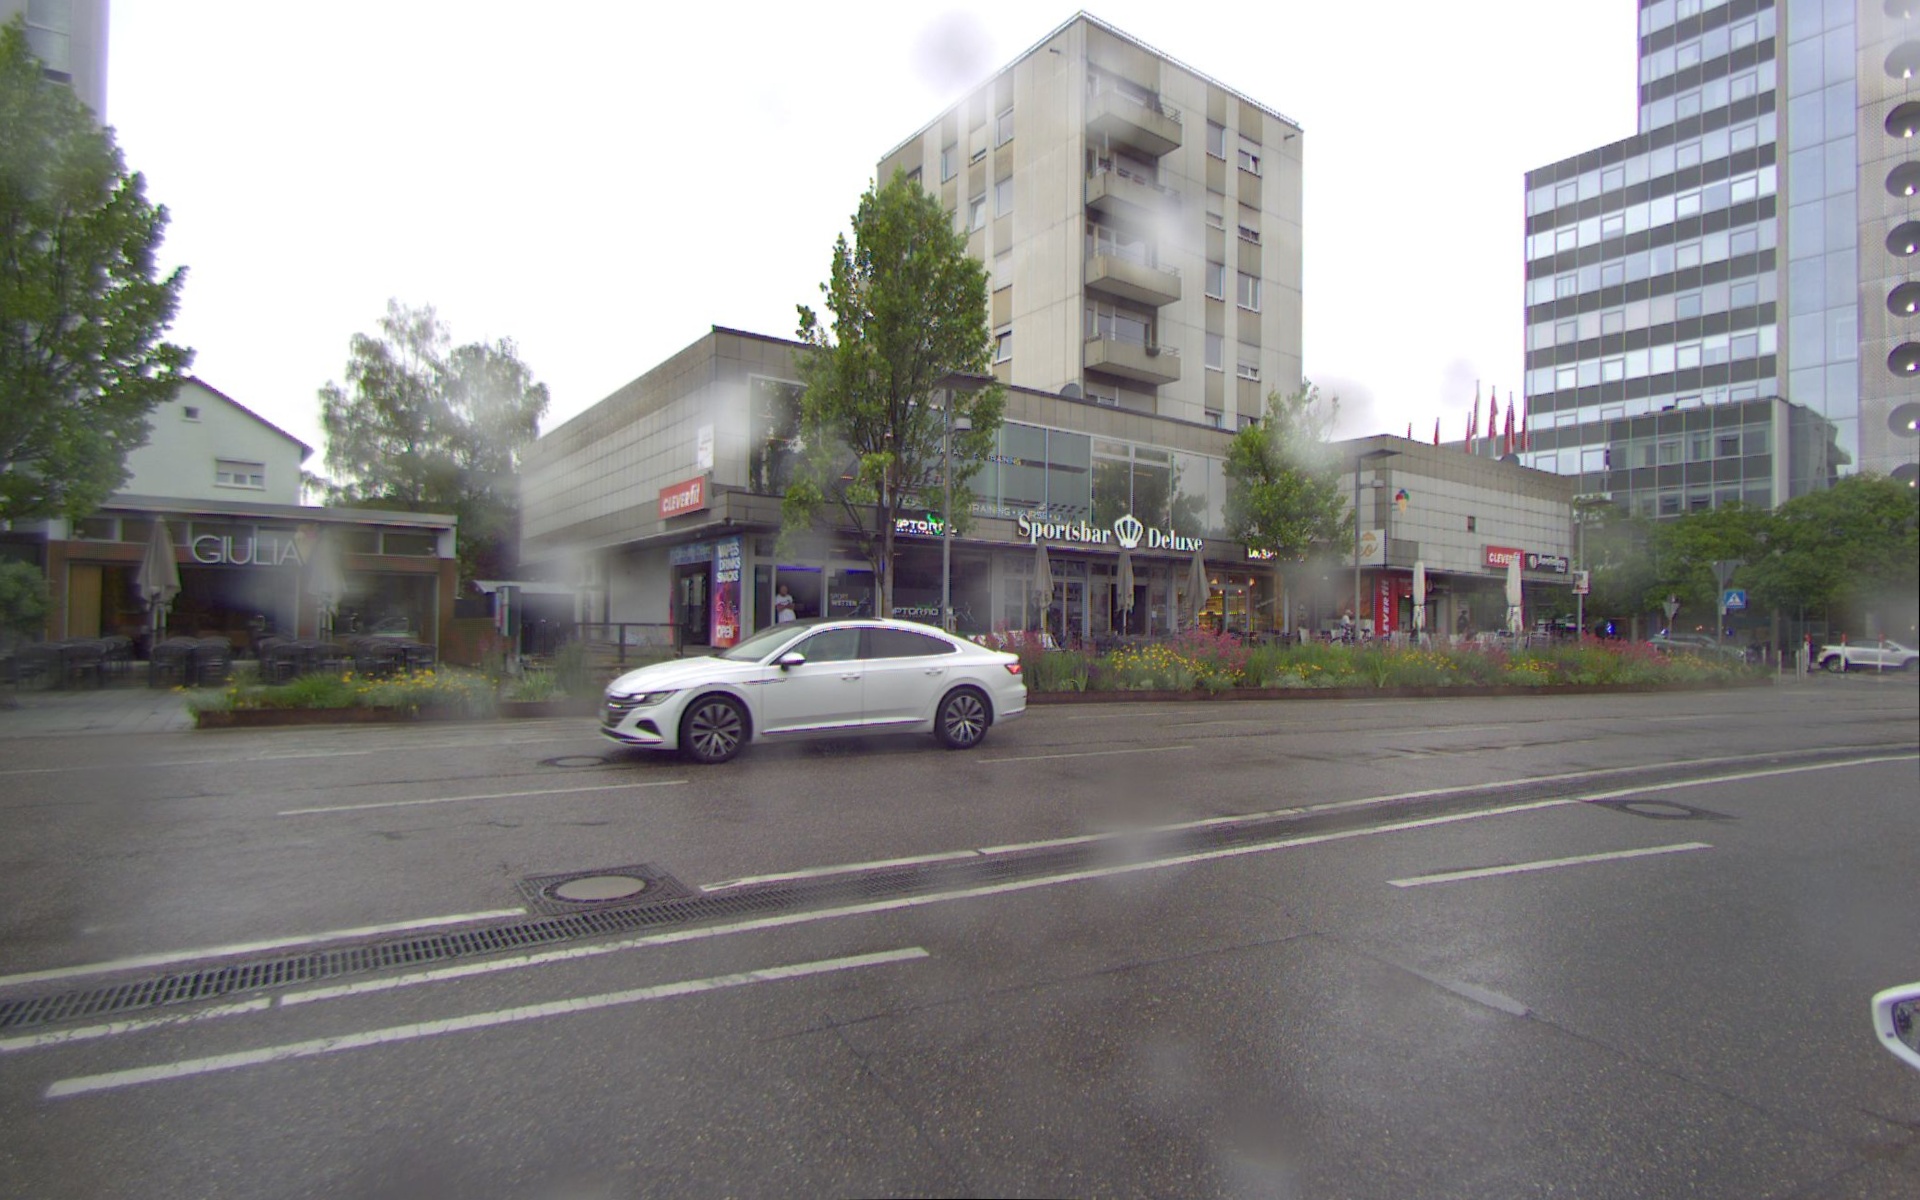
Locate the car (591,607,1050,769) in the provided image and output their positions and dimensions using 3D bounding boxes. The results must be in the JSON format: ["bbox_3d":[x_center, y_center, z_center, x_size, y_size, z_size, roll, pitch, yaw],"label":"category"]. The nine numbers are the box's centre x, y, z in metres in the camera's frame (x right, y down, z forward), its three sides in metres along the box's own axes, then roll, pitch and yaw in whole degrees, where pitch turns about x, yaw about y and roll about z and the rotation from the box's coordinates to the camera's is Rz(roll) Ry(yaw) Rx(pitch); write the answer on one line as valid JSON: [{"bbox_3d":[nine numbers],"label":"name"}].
[{"bbox_3d":[-1.462,0.867,11.215,4.752,1.480,1.833,2,-1,-30],"label":"car"}]

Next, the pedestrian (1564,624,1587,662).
[{"bbox_3d":[22.742,1.579,37.133,0.526,1.365,0.497,1,-1,-1],"label":"pedestrian"}]

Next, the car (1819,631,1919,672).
[{"bbox_3d":[39.048,2.139,42.205,1.849,1.616,4.169,1,-1,-32],"label":"car"}]

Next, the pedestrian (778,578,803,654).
[{"bbox_3d":[-4.253,0.405,25.186,0.494,1.872,0.424,1,-1,-26],"label":"pedestrian"}]

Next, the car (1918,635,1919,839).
[{"bbox_3d":[9.073,1.033,7.187,3.818,1.481,1.868,1,-1,-23],"label":"car"}]

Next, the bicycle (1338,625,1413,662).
[{"bbox_3d":[14.741,1.522,35.676,0.689,1.239,2.531,1,-1,-32],"label":"bicycle"}]

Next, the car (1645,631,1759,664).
[{"bbox_3d":[35.649,2.252,48.351,1.848,1.439,4.026,1,-1,-30],"label":"car"}]

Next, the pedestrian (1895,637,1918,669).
[{"bbox_3d":[55.980,3.128,59.407,0.739,1.892,0.833,0,-2,26],"label":"pedestrian"}]
